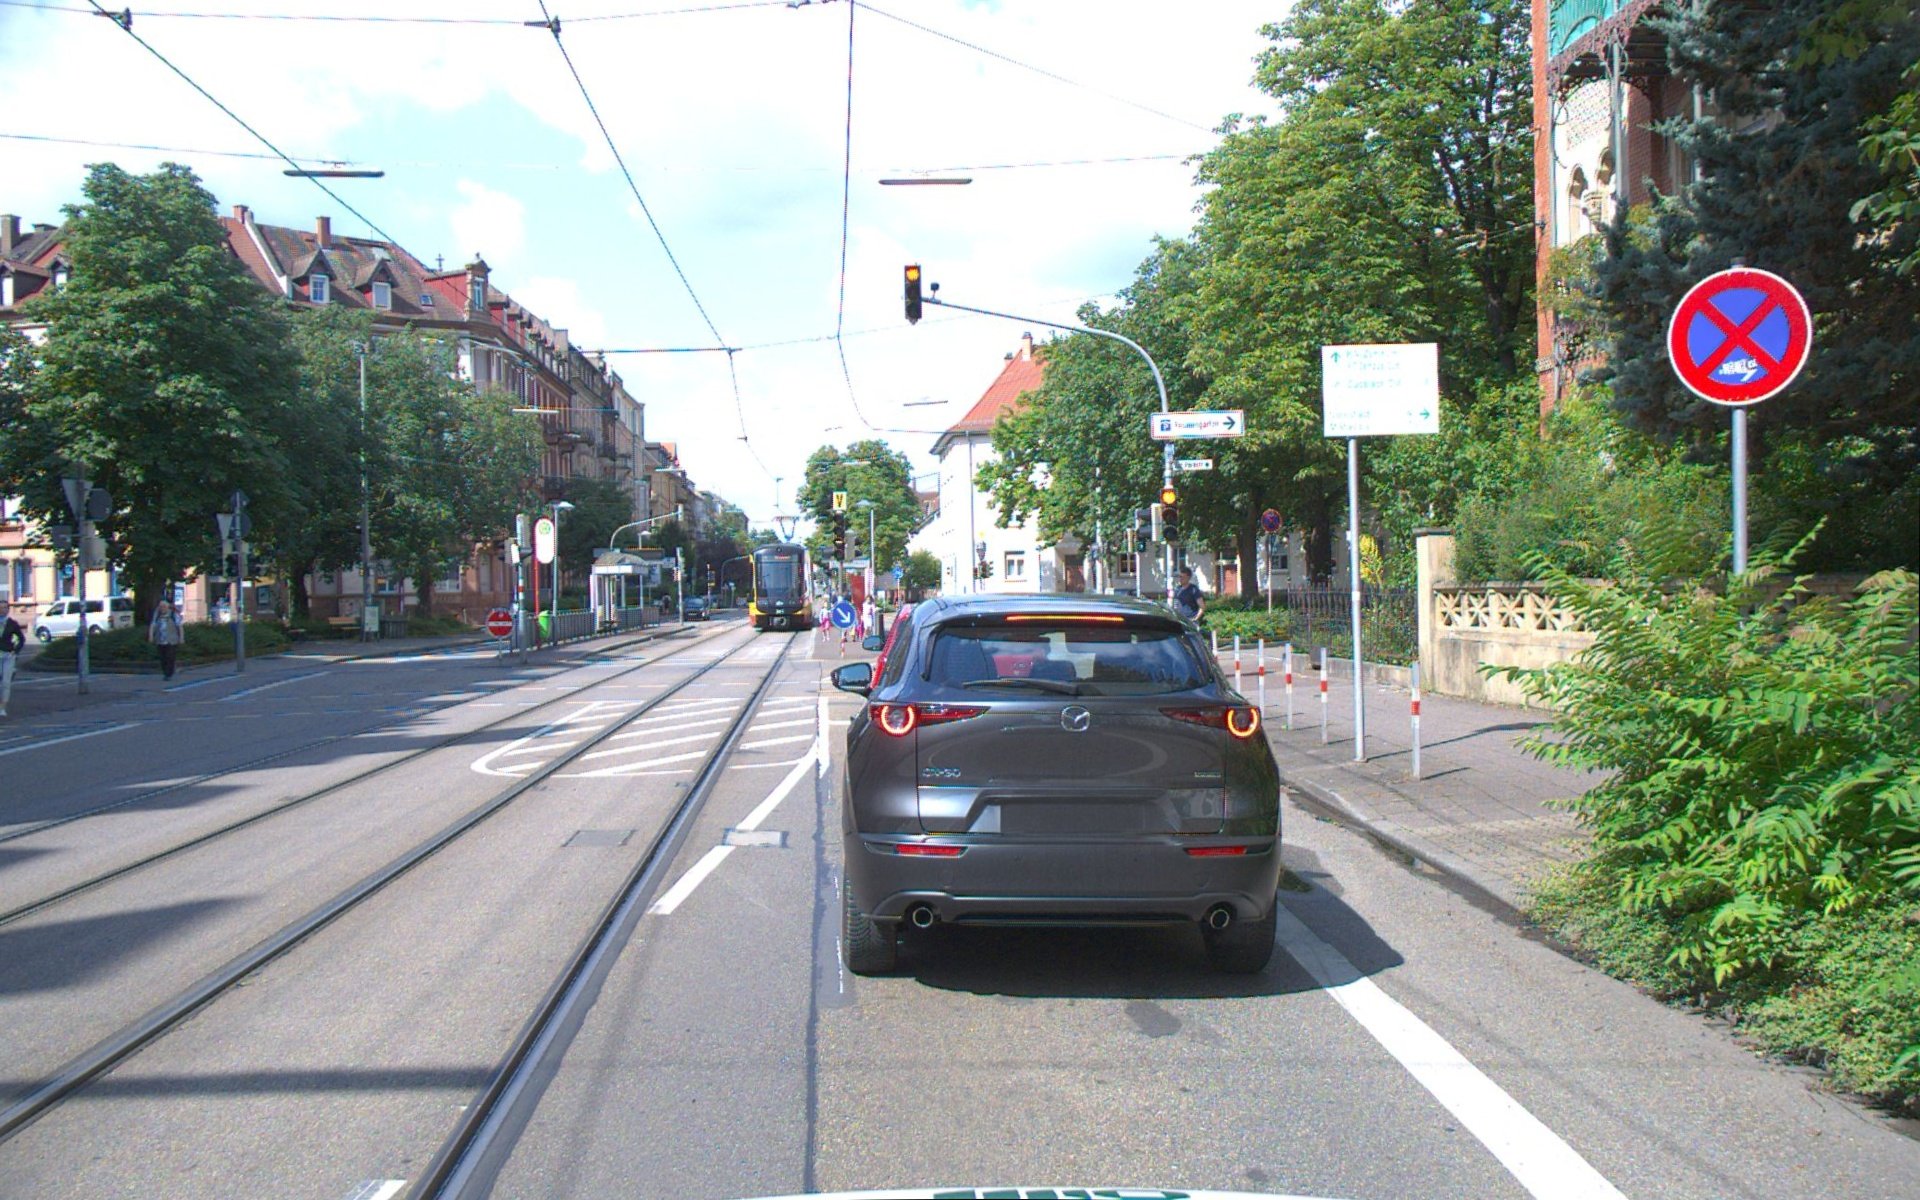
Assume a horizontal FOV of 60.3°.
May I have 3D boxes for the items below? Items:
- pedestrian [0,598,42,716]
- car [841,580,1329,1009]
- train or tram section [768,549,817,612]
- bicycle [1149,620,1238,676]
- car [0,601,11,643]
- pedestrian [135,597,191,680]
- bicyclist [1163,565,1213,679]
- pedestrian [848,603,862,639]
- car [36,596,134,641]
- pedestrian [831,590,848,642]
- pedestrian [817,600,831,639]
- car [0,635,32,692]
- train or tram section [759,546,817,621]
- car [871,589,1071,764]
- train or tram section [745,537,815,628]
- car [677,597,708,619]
[{"bbox_3d":[-14.619,0.871,25.439,0.792,1.785,0.676,-1,0,-35],"label":"pedestrian"},{"bbox_3d":[0.400,0.690,7.941,1.742,1.526,3.999,1,0,-2],"label":"car"},{"bbox_3d":[-10.149,-1.255,101.046,2.699,3.551,14.393,-1,1,-5],"label":"train or tram section"},{"bbox_3d":[3.849,0.779,27.172,1.685,0.838,0.487,-1,0,-43],"label":"bicycle"},{"bbox_3d":[-39.608,0.910,64.561,3.906,1.624,2.000,-1,0,-1],"label":"car"},{"bbox_3d":[-17.013,0.817,35.315,0.804,1.735,0.719,-1,0,4],"label":"pedestrian"},{"bbox_3d":[3.706,0.348,26.878,0.597,1.824,0.656,-1,0,-11],"label":"bicyclist"},{"bbox_3d":[-2.976,0.604,46.954,0.372,1.001,0.474,-1,0,-6],"label":"pedestrian"},{"bbox_3d":[-40.399,0.853,76.383,3.906,1.937,2.000,-1,0,23],"label":"car"},{"bbox_3d":[-3.409,0.444,46.811,0.441,1.459,0.474,-1,0,-6],"label":"pedestrian"},{"bbox_3d":[-3.848,0.536,46.825,0.372,1.089,0.474,-1,0,-6],"label":"pedestrian"},{"bbox_3d":[-22.497,1.420,36.716,3.915,1.203,1.674,-1,0,33],"label":"car"},{"bbox_3d":[-8.906,-0.938,86.721,2.699,3.551,14.393,-1,1,-5],"label":"train or tram section"},{"bbox_3d":[0.047,0.665,16.577,1.742,1.526,3.999,1,0,-2],"label":"car"},{"bbox_3d":[-7.763,-0.845,72.649,2.699,3.551,14.393,-1,1,-5],"label":"train or tram section"},{"bbox_3d":[-16.498,0.483,102.209,1.583,1.333,3.624,-1,0,-5],"label":"car"}]
